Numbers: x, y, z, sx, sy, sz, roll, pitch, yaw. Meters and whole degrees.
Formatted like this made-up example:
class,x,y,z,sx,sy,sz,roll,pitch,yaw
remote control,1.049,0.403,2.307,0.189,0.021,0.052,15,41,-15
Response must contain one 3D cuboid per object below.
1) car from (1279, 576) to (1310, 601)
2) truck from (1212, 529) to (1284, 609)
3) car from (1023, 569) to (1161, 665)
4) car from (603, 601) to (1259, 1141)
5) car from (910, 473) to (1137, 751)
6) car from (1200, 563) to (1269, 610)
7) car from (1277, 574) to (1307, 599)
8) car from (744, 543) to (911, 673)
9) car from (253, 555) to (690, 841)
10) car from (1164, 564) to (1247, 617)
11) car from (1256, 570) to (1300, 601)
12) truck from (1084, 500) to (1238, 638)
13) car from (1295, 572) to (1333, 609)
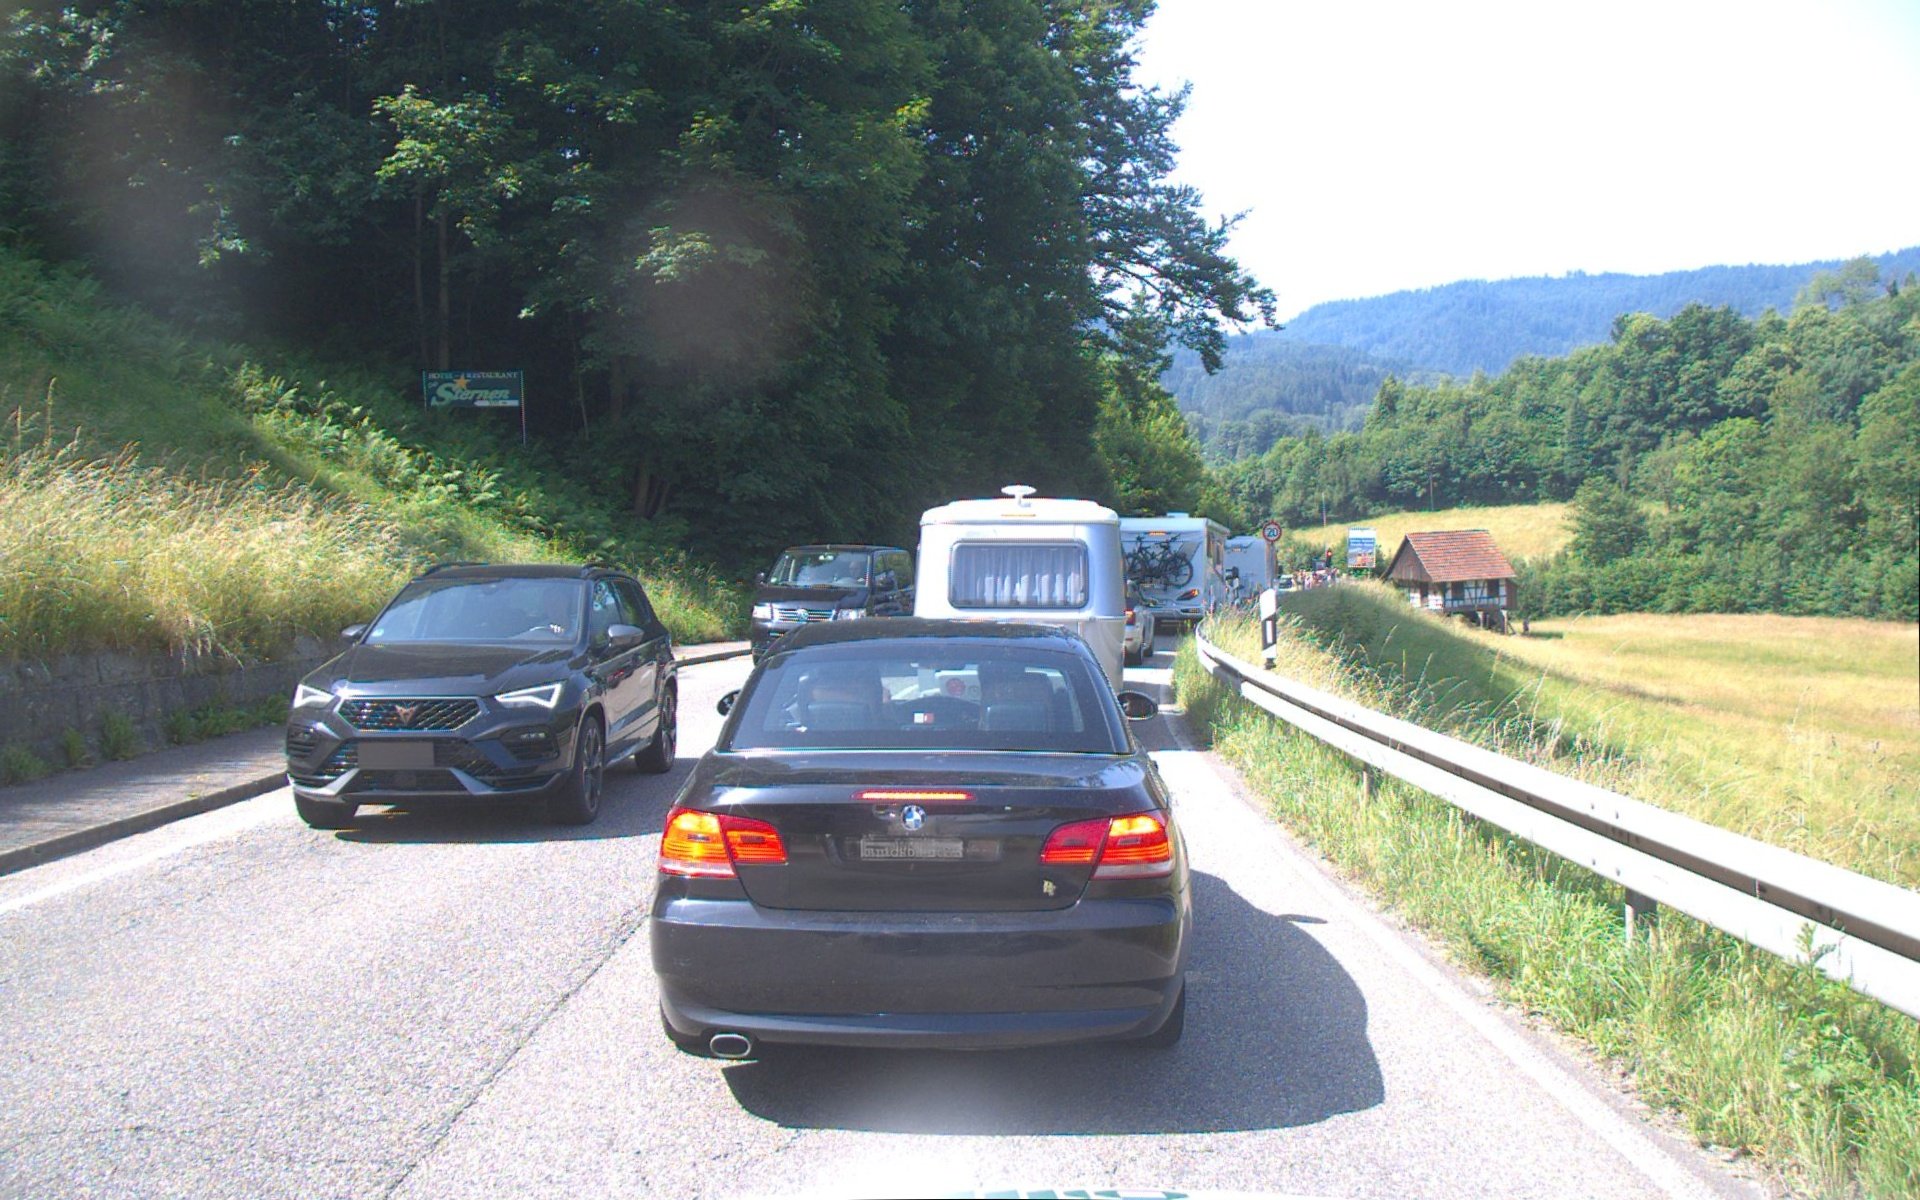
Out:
class,x,y,z,sx,sy,sz,roll,pitch,yaw
car,22.727,-0.771,112.258,1.951,1.603,4.003,1,0,13
truck,11.027,-1.122,62.933,2.190,2.853,6.237,1,0,14
car,2.403,0.254,29.193,1.951,1.510,4.004,2,1,11
car,-0.013,0.716,6.269,1.734,1.359,3.768,0,1,2
car,0.724,0.050,16.759,1.951,2.394,4.917,0,1,4
car,9.426,-0.494,56.582,1.750,1.489,4.002,3,2,18
car,24.491,-1.006,122.038,1.951,1.713,4.003,1,0,14
car,-2.011,0.054,26.395,1.878,1.858,4.494,1,2,5
car,-3.097,0.514,11.397,1.784,1.612,4.083,0,1,0
car,7.598,-0.336,50.870,1.952,1.489,4.003,3,2,16
car,16.434,-0.717,85.296,1.866,1.512,4.002,1,0,16
truck,5.157,-0.794,41.342,2.732,3.049,6.873,2,2,15
car,20.293,-0.523,94.845,1.951,1.959,4.003,4,0,12
